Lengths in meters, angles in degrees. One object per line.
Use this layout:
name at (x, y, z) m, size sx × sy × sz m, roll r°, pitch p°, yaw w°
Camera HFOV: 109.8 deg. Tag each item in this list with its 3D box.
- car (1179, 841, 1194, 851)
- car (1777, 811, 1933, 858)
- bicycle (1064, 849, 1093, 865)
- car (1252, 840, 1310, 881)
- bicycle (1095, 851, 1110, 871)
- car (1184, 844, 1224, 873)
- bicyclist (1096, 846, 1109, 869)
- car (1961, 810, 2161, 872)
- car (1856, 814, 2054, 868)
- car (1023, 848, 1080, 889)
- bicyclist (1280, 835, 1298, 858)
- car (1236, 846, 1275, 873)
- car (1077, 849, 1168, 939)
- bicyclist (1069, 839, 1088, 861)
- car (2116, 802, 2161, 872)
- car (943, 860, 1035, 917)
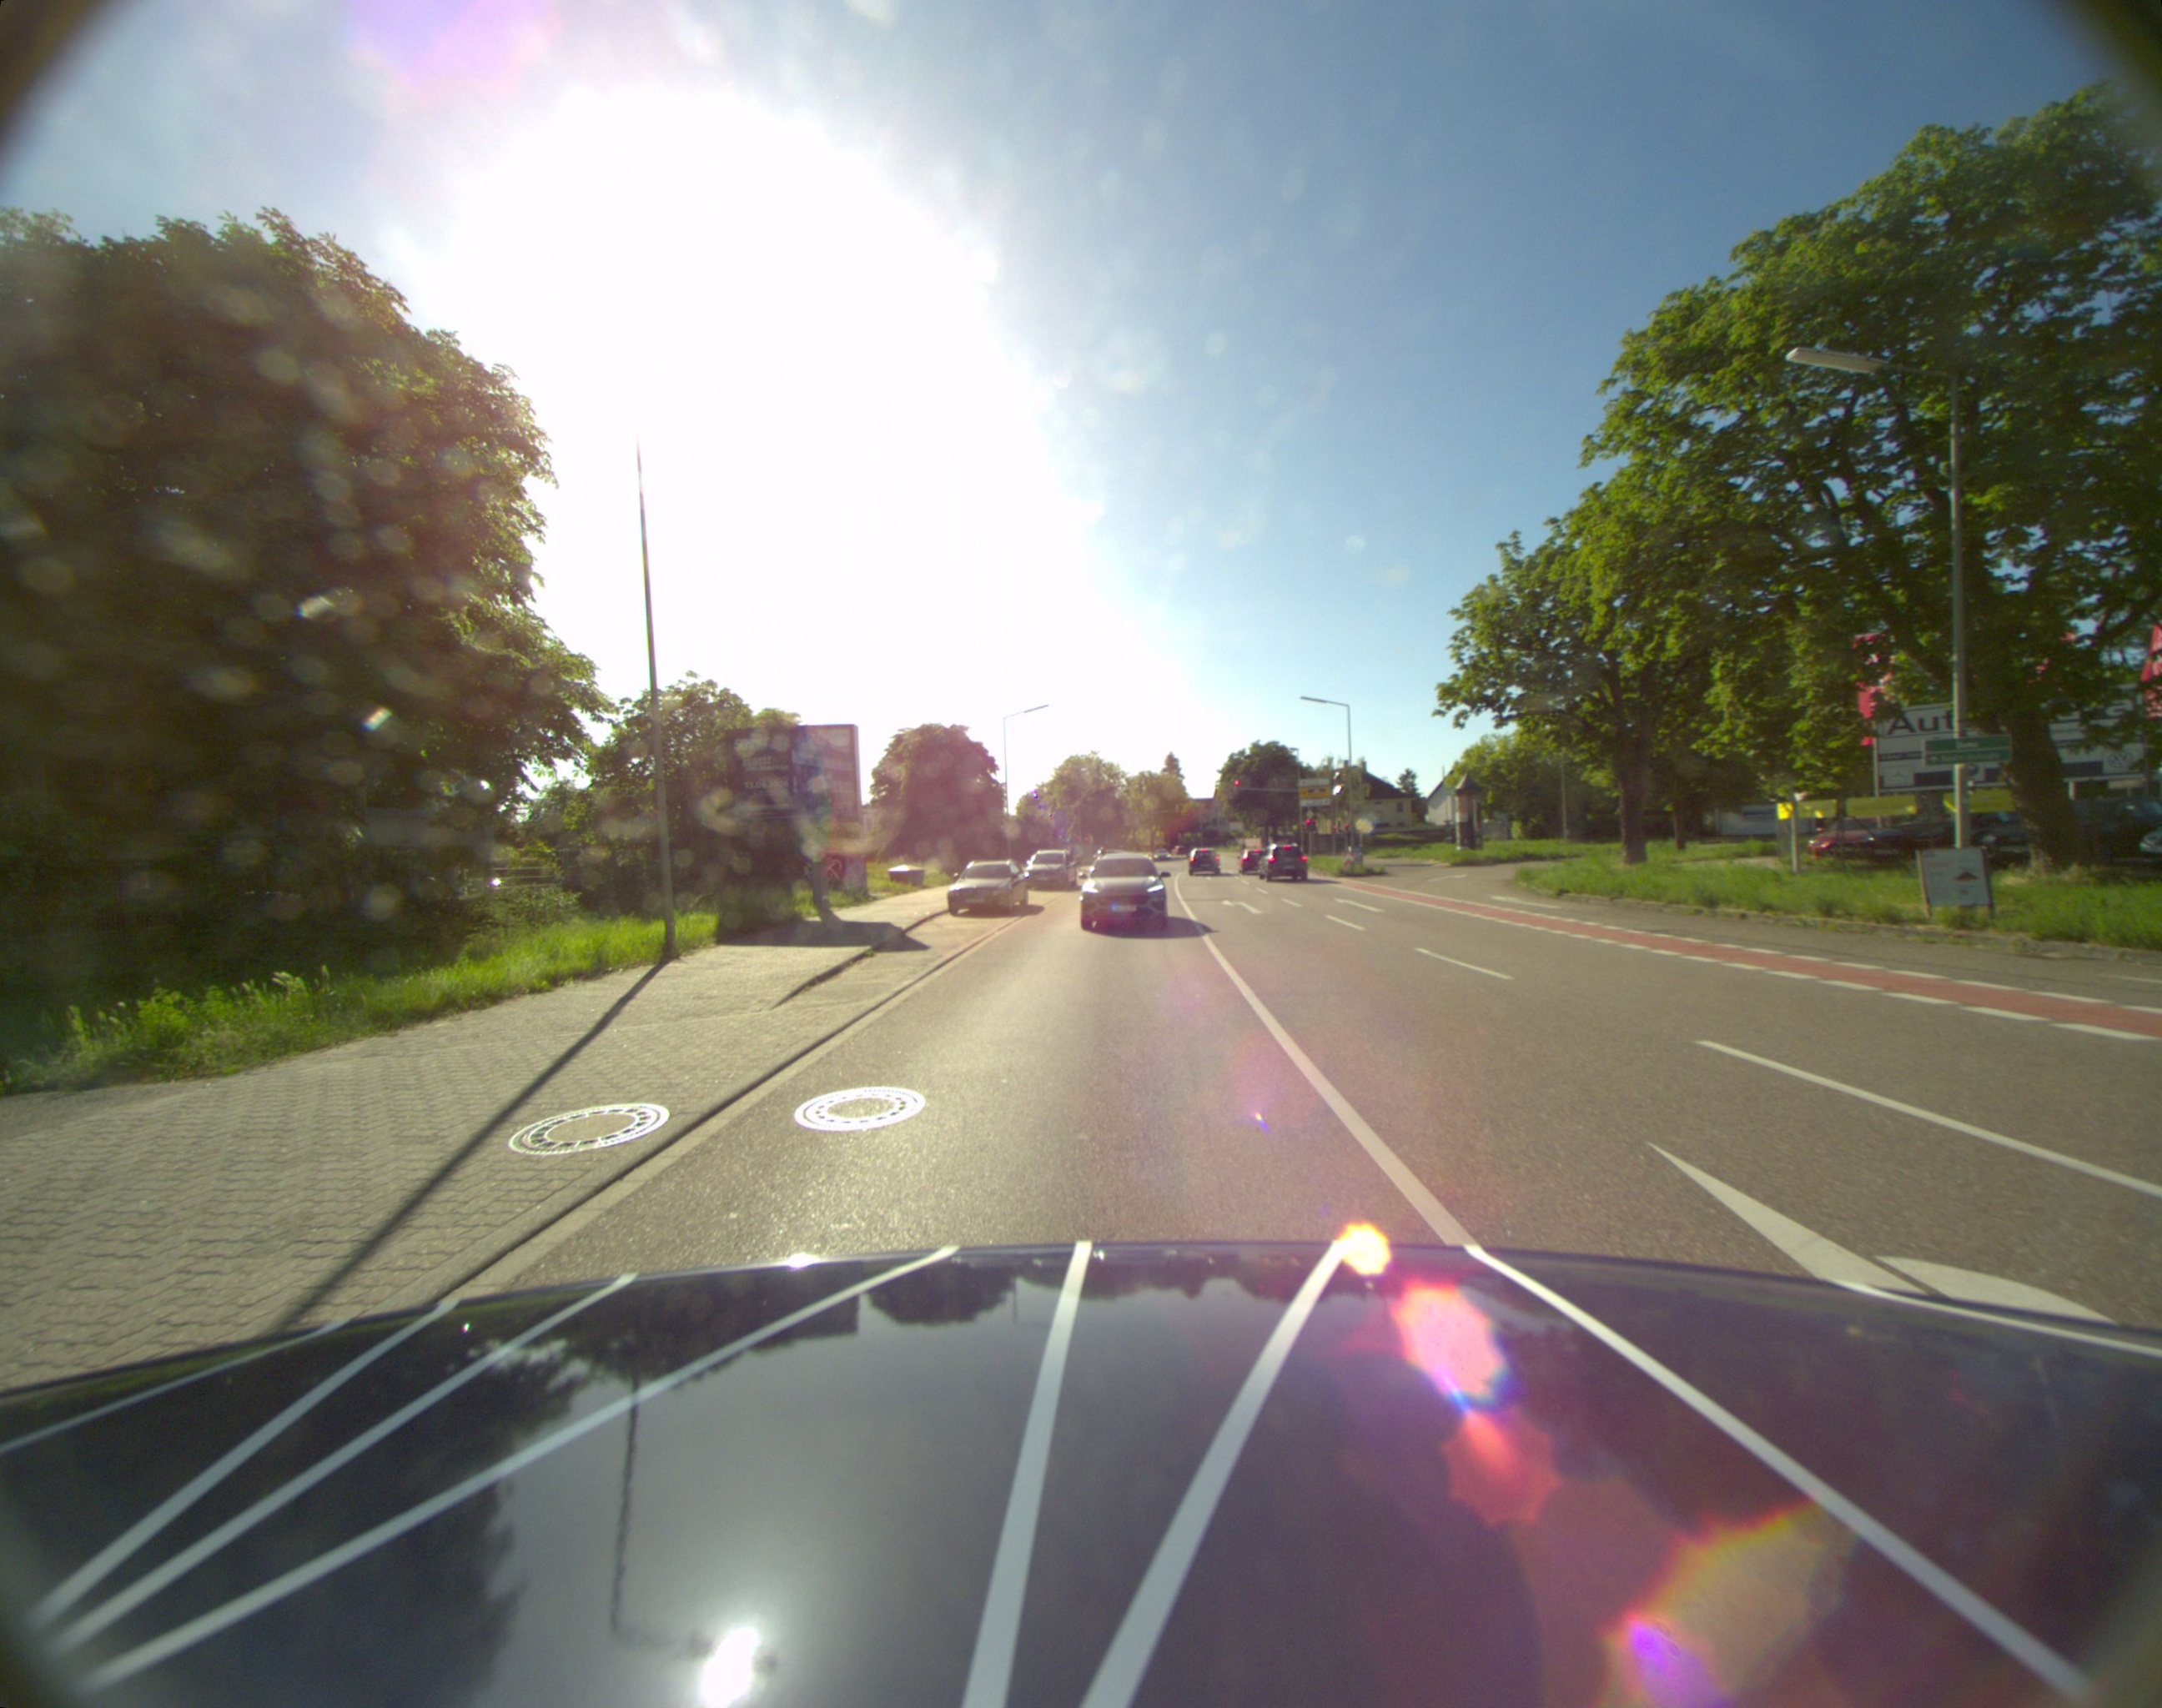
car at (16.135, -1.229, 116.495) m, size 1.860 × 1.461 × 4.142 m, roll -2°, pitch 1°, yaw 13°
car at (25.718, -0.652, 25.227) m, size 5.067 × 1.302 × 2.356 m, roll -3°, pitch 0°, yaw -29°
bicycle at (-0.188, 0.218, 59.238) m, size 0.901 × 1.119 × 2.958 m, roll -3°, pitch 0°, yaw 28°
car at (9.226, 0.270, 35.350) m, size 1.856 × 1.725 × 4.272 m, roll -2°, pitch 0°, yaw 5°
bicycle at (1.415, 0.464, 50.322) m, size 0.795 × 1.218 × 3.212 m, roll -3°, pitch 1°, yaw -1°
car at (7.158, 0.219, 44.580) m, size 1.917 × 1.590 × 4.000 m, roll -1°, pitch 1°, yaw 4°
bicyclist at (1.409, 0.229, 50.378) m, size 0.774 × 1.476 × 0.825 m, roll -3°, pitch 1°, yaw -1°
car at (23.423, -0.317, 17.905) m, size 3.935 × 1.233 × 2.041 m, roll -3°, pitch 0°, yaw -16°
car at (23.810, -0.338, 20.747) m, size 3.935 × 1.233 × 2.041 m, roll -3°, pitch 0°, yaw -16°
car at (-1.254, 0.615, 34.840) m, size 1.876 × 1.712 × 4.614 m, roll 0°, pitch 1°, yaw 7°
bicyclist at (13.059, -0.461, 47.655) m, size 0.935 × 1.393 × 0.823 m, roll -3°, pitch 1°, yaw 8°
car at (9.917, 0.271, 43.322) m, size 1.787 × 1.406 × 3.892 m, roll -2°, pitch 1°, yaw 8°
car at (0.937, 0.793, 17.180) m, size 1.714 × 1.636 × 4.055 m, roll -4°, pitch 1°, yaw 3°
bicyclist at (-0.187, -0.330, 59.307) m, size 0.890 × 1.683 × 1.192 m, roll -3°, pitch 1°, yaw 28°
car at (23.737, -0.433, 15.388) m, size 3.881 × 1.404 × 1.944 m, roll -3°, pitch 0°, yaw -14°
car at (-2.600, 0.949, 22.569) m, size 1.812 × 1.411 × 4.425 m, roll -2°, pitch 0°, yaw 5°
